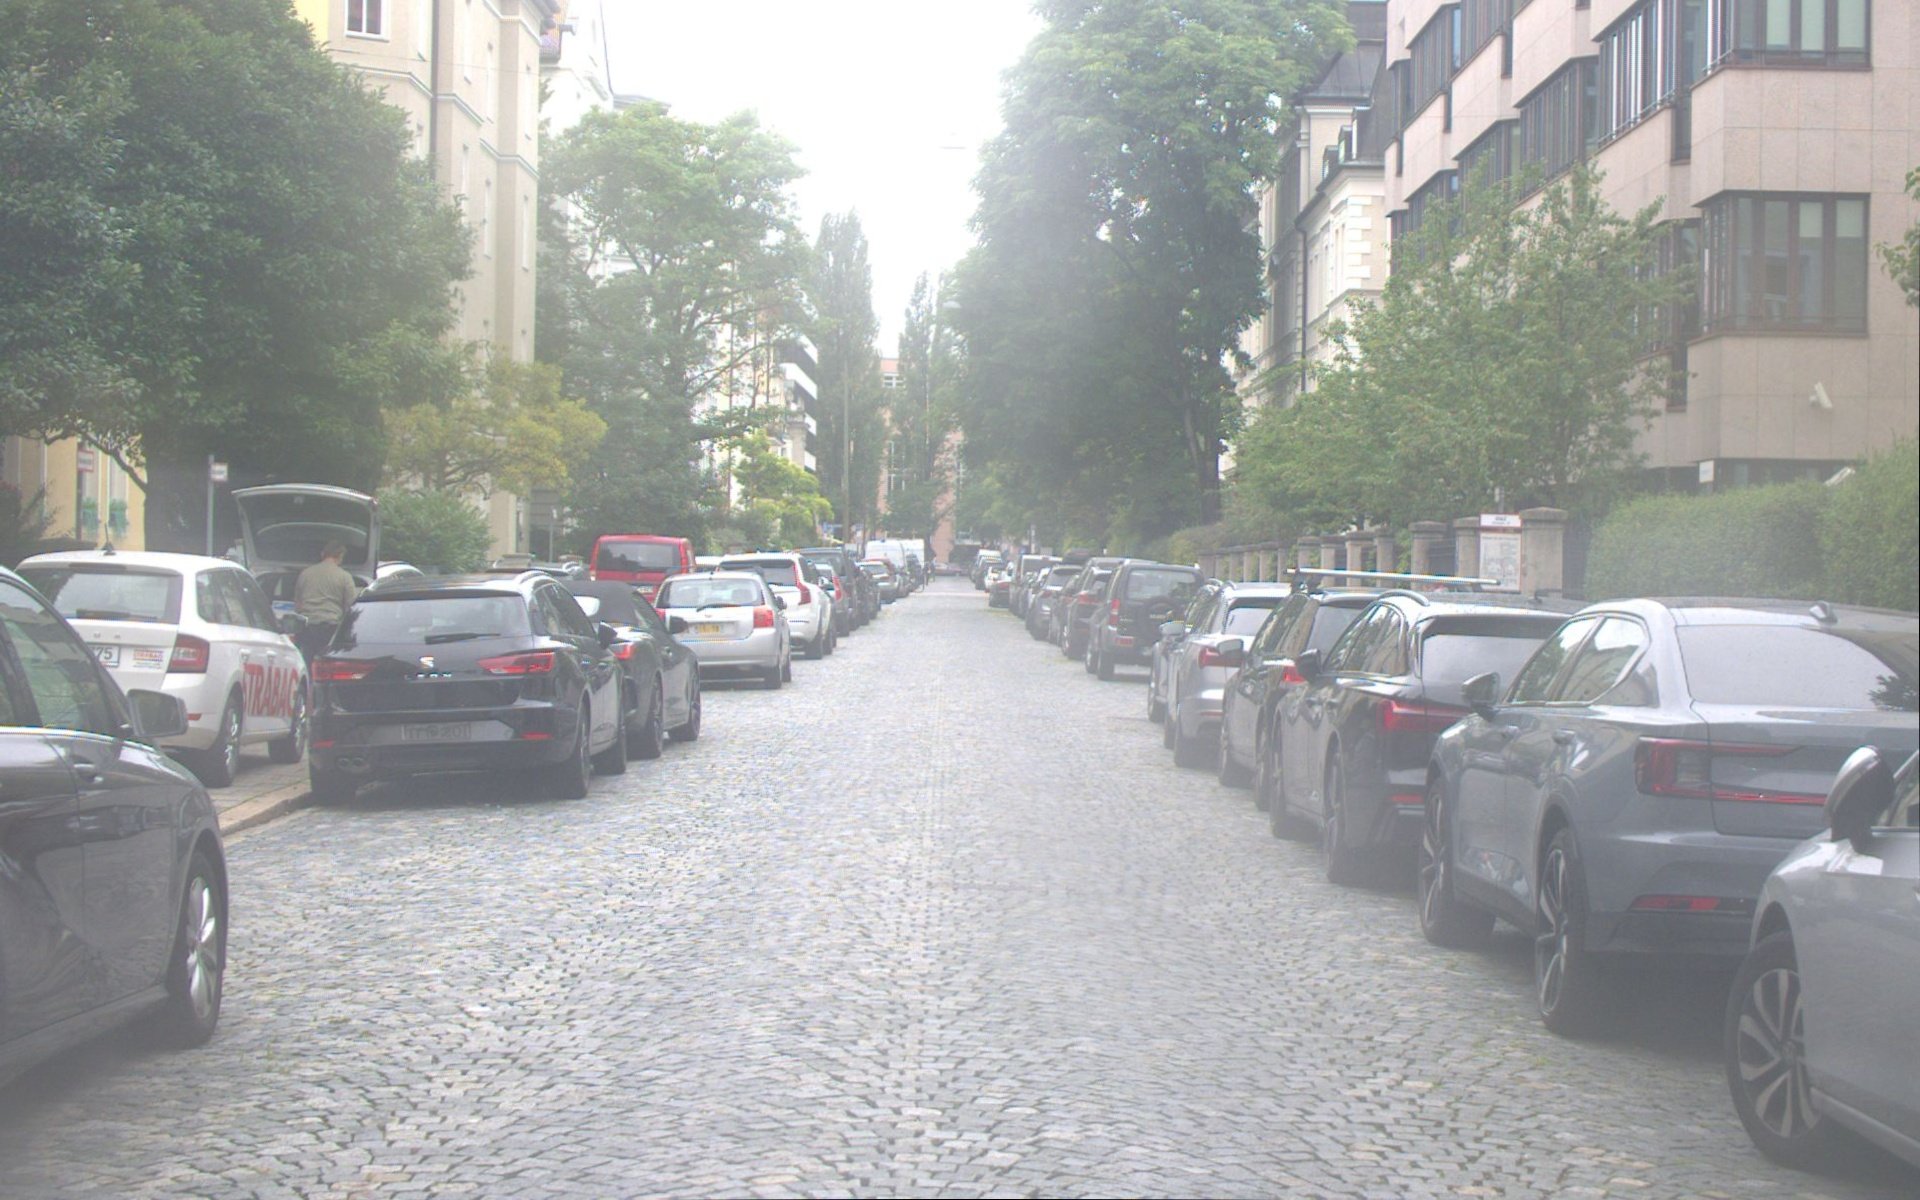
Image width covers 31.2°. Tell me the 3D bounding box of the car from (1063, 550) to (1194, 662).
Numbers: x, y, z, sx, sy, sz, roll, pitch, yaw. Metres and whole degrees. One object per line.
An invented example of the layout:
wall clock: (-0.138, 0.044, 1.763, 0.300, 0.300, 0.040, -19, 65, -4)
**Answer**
car: (2.807, 0.067, 58.143, 1.860, 1.696, 4.813, 4, 1, 0)

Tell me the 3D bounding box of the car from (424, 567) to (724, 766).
car: (-3.068, 0.477, 28.248, 1.814, 1.450, 4.913, -1, 1, 1)

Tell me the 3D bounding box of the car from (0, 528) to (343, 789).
car: (-5.426, 0.327, 23.149, 1.739, 1.531, 4.467, 2, 1, -1)

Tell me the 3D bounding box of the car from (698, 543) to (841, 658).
car: (-3.127, -0.018, 57.344, 2.006, 1.803, 5.174, -1, 1, 1)

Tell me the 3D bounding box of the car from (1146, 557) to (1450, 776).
car: (2.666, 0.471, 28.240, 1.993, 1.546, 4.986, 3, 1, 1)

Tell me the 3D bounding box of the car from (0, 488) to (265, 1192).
car: (-3.132, 0.522, 9.609, 1.739, 1.580, 4.193, 0, 1, -3)

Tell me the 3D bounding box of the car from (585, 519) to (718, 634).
car: (-5.597, -0.452, 62.994, 1.994, 1.924, 5.331, 3, 1, -1)

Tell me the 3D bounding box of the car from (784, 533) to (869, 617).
car: (-3.150, -0.612, 81.938, 1.873, 1.910, 4.828, -1, 1, -1)

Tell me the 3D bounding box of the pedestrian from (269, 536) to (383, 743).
pedestrian: (-5.149, 0.317, 27.944, 0.766, 1.644, 0.582, 2, 1, 1)

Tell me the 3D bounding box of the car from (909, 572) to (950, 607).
car: (-1.601, -0.546, 178.850, 1.993, 1.722, 4.000, 3, 0, -1)

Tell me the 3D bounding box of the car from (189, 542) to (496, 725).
car: (-5.344, 0.248, 30.306, 1.776, 1.412, 4.561, 3, 1, 1)

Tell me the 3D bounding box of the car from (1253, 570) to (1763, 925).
car: (2.700, 0.647, 18.125, 1.819, 1.483, 5.050, 4, 1, 0)

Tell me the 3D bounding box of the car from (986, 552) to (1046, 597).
car: (2.026, -0.946, 125.136, 1.873, 1.498, 4.512, 4, 1, -2)

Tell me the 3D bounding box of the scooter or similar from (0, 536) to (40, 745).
scooter or similar: (-7.485, 0.291, 24.618, 1.062, 1.518, 2.635, 1, 1, 0)

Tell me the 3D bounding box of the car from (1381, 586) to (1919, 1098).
car: (2.855, 0.759, 12.990, 1.882, 1.483, 4.814, 4, 1, 0)

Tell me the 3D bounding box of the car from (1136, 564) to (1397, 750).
car: (2.891, 0.487, 33.489, 1.993, 1.546, 5.015, 3, 1, 0)

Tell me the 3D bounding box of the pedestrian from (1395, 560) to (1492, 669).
pedestrian: (6.772, 0.194, 48.196, 1.217, 1.488, 1.129, -1, 1, 2)

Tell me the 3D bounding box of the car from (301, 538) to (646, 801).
car: (-3.178, 0.399, 23.254, 1.739, 1.598, 4.537, 0, 1, -1)

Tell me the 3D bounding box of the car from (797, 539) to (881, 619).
car: (-3.083, -0.549, 88.363, 1.993, 1.910, 5.178, -2, 1, -1)

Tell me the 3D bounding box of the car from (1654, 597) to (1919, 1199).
car: (2.922, 0.797, 7.739, 1.755, 1.455, 4.480, 4, 1, 0)

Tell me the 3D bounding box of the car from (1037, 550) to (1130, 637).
car: (2.647, -0.156, 74.666, 1.873, 1.729, 4.891, 3, 1, 1)

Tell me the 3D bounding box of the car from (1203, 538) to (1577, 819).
car: (2.800, 0.461, 23.327, 1.893, 1.648, 4.294, 2, 1, 0)

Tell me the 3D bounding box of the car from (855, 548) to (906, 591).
car: (-3.105, -1.200, 133.413, 1.873, 1.574, 4.256, -2, 1, -2)

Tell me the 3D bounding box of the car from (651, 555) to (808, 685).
car: (-2.894, 0.211, 43.974, 1.713, 1.557, 4.390, -1, 1, 0)

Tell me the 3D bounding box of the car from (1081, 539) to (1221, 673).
car: (2.720, 0.057, 49.669, 1.618, 1.745, 3.887, 4, 1, -1)

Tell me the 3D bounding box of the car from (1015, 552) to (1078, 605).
car: (2.682, -0.682, 107.429, 1.837, 1.485, 4.421, 4, 1, 1)

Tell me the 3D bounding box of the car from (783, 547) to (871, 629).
car: (-2.993, -0.299, 76.803, 1.865, 1.729, 4.404, -1, 1, -3)

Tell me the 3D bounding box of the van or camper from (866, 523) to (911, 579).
van or camper: (-3.445, -2.356, 165.937, 1.993, 2.643, 4.000, -2, 1, 1)

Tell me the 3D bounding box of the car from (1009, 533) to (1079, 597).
car: (2.731, -1.163, 113.132, 1.873, 1.922, 5.165, 4, 1, -2)

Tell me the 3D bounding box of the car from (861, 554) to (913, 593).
car: (-3.196, -1.176, 151.024, 1.873, 1.574, 4.207, 3, 1, 3)

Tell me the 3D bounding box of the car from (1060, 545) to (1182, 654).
car: (2.943, -0.035, 63.583, 1.788, 1.790, 4.510, 5, 1, -1)
